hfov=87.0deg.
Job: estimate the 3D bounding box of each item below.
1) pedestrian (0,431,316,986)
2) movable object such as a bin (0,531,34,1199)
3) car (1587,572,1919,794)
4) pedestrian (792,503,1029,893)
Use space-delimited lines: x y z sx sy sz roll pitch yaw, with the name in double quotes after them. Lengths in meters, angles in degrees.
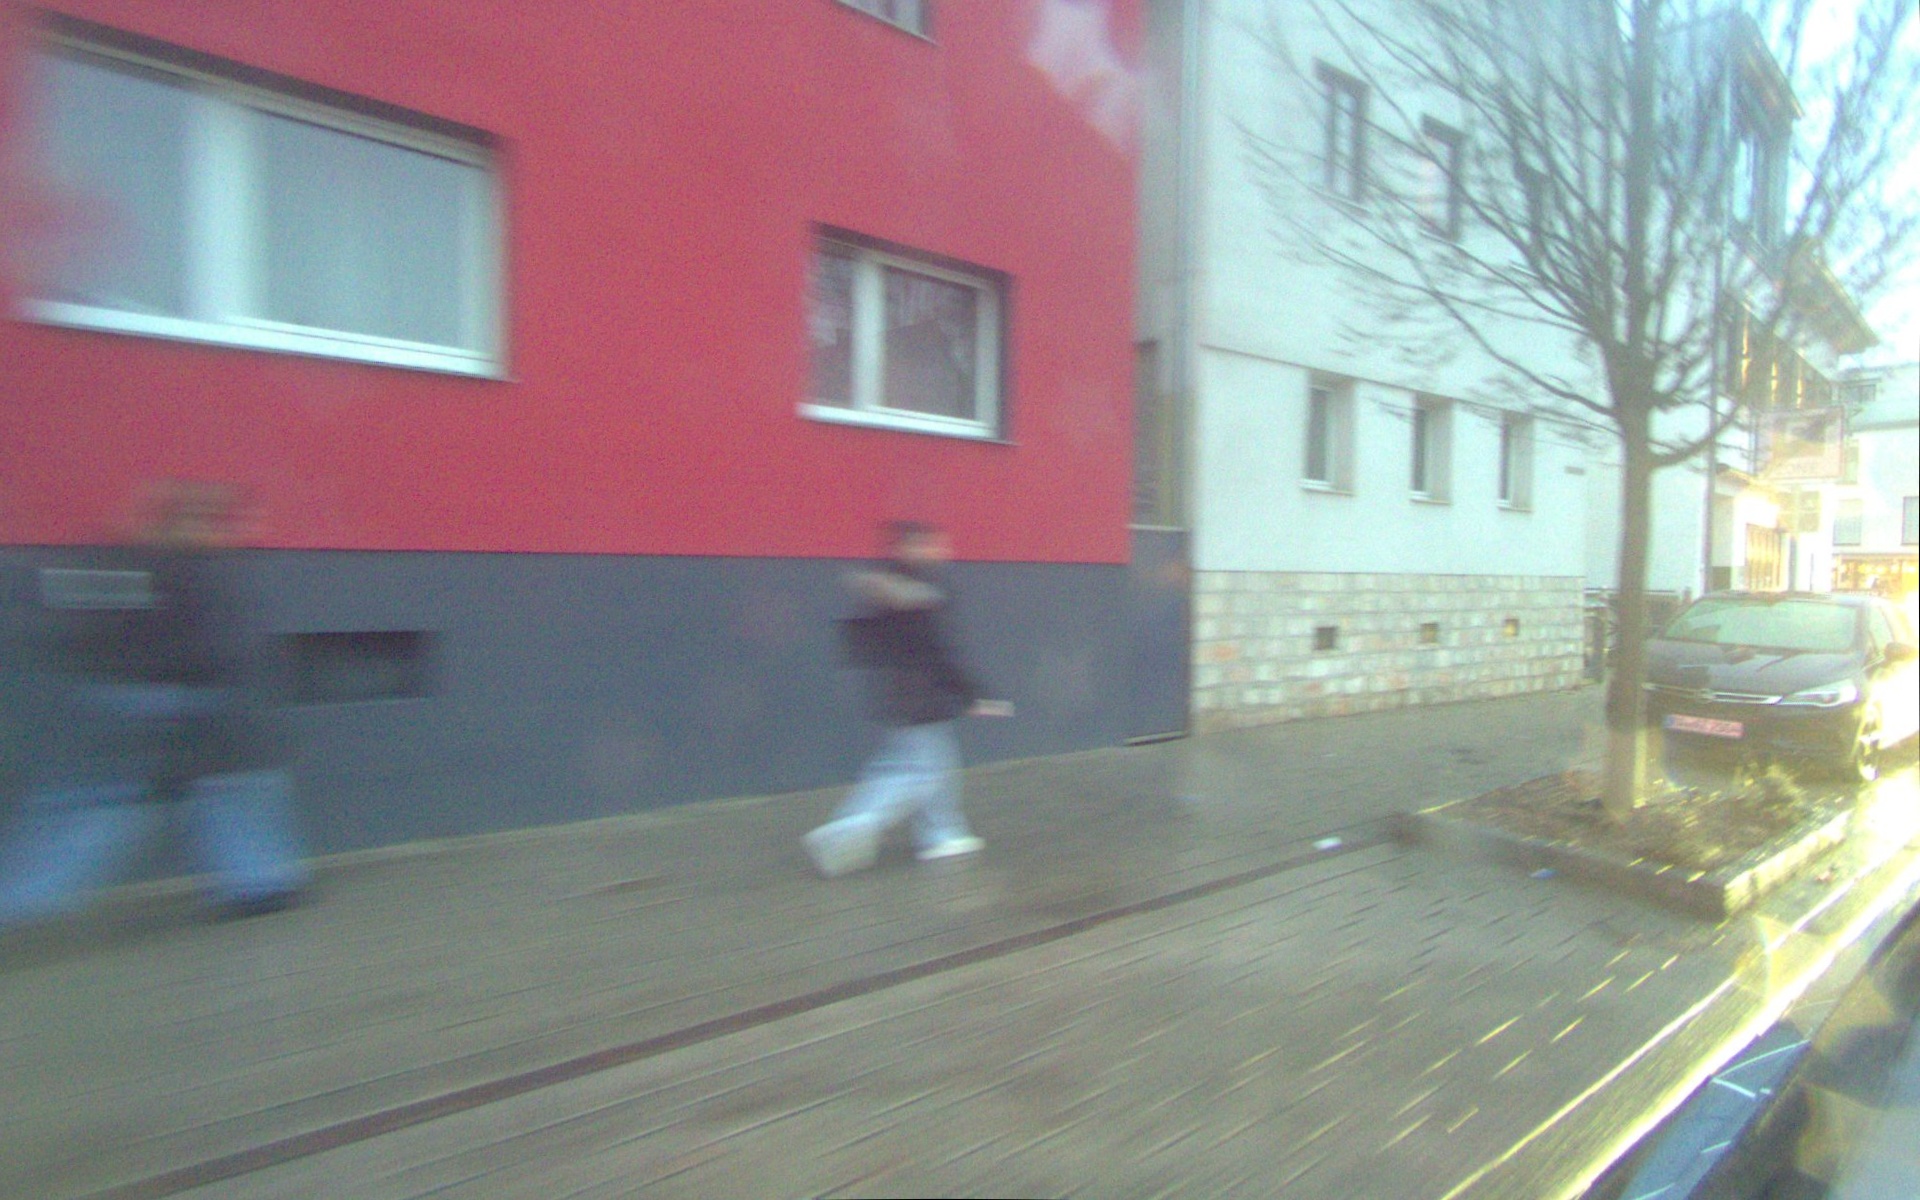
-2.887 0.320 3.552 1.031 1.699 0.750 1 2 -33 "pedestrian"
-1.636 0.657 0.666 1.391 1.437 1.133 1 4 -37 "movable object such as a bin"
7.516 0.576 9.124 4.121 1.482 1.734 0 4 -37 "car"
-0.231 0.396 4.791 0.935 1.673 0.531 -3 1 -29 "pedestrian"
